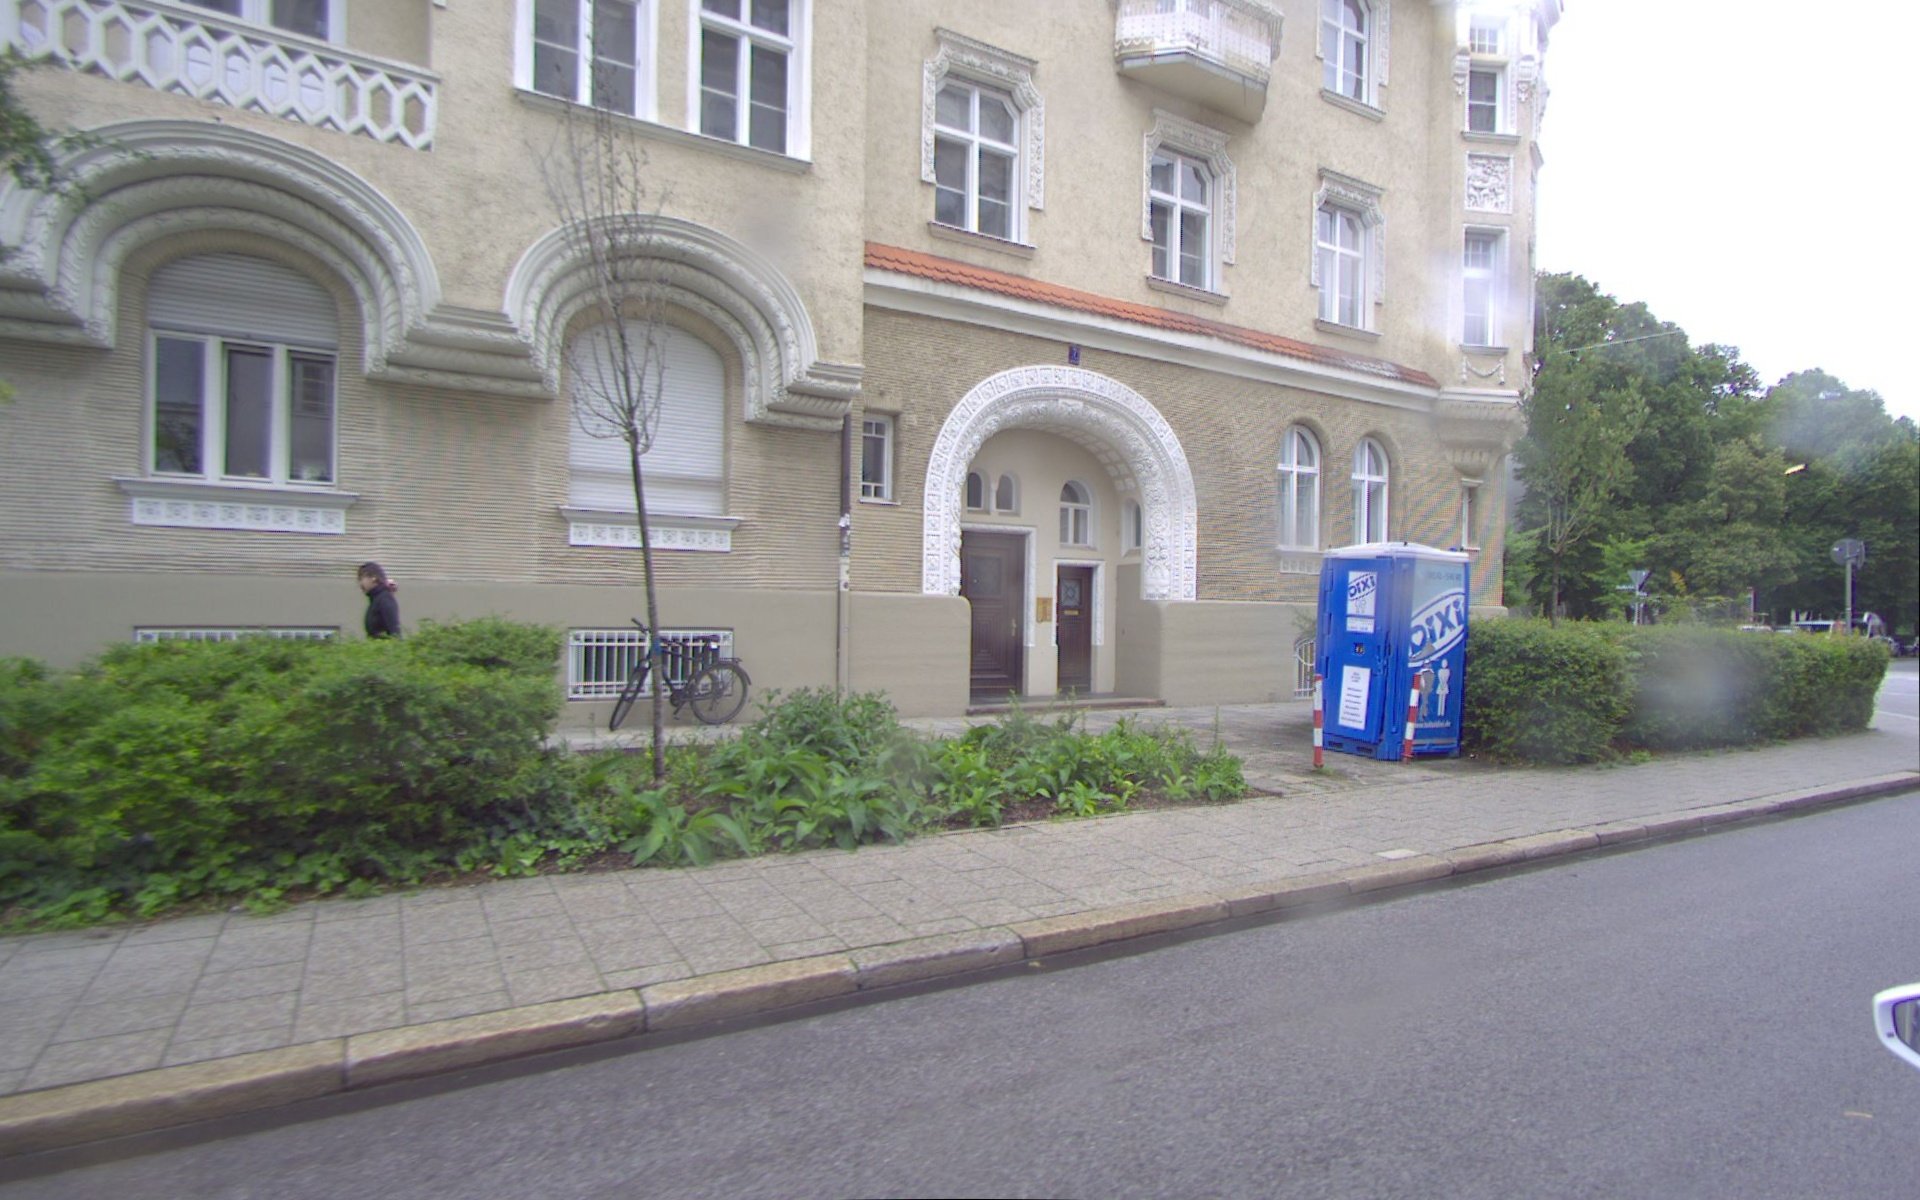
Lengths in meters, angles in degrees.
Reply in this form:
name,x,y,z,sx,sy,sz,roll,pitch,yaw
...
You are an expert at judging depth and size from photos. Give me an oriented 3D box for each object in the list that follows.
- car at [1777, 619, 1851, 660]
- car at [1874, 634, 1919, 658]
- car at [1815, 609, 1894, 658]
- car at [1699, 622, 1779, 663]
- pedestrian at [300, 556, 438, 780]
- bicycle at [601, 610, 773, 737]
name,x,y,z,sx,sy,sz,roll,pitch,yaw
car,50.188,2.291,58.993,5.143,2.281,2.097,2,-1,-35
car,66.324,3.228,70.945,4.035,1.558,1.883,2,-1,-36
car,57.596,2.163,64.627,6.513,2.960,2.320,2,-1,-35
car,39.295,2.120,50.630,4.821,1.920,1.913,2,-1,-36
pedestrian,-5.033,0.554,8.595,0.937,1.774,0.909,1,-1,-30
bicycle,-2.979,0.773,10.993,1.682,1.293,0.741,1,0,-29
